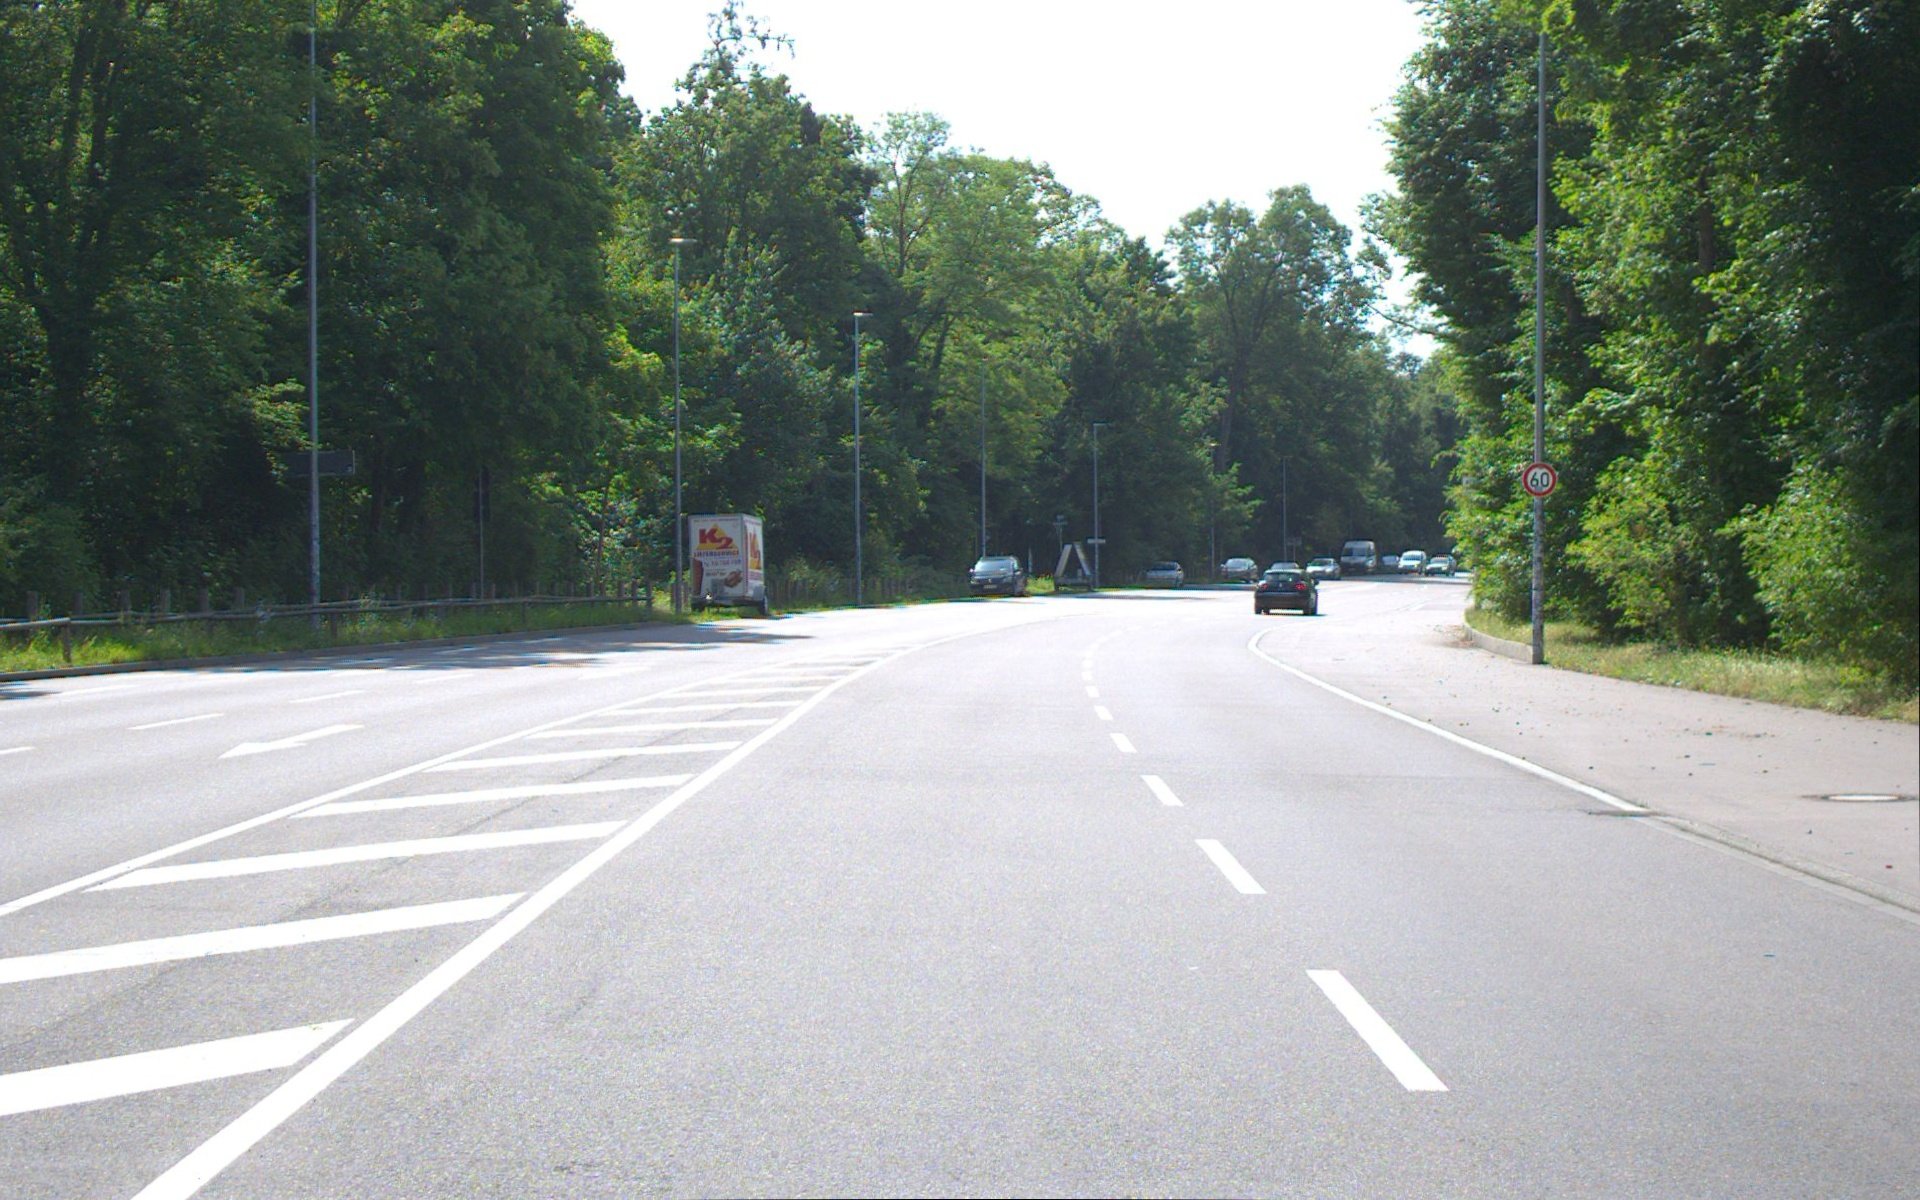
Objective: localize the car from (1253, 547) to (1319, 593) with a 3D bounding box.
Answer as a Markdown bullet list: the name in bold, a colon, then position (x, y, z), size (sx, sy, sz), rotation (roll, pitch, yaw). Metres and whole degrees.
- **car**: position (10.286, -0.946, 108.324), size (1.598, 1.373, 3.974), rotation (1, 1, 12)

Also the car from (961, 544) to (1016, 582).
- **car**: position (1.117, -1.434, 133.905), size (1.504, 1.441, 3.527), rotation (1, 1, 11)

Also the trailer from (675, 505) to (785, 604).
- **trailer**: position (-5.708, -1.119, 85.647), size (1.994, 2.380, 3.999), rotation (1, 1, 7)

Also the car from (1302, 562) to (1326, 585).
- **car**: position (23.104, -1.749, 224.252), size (1.504, 1.441, 3.528), rotation (1, 1, 6)

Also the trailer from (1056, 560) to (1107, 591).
- **trailer**: position (5.537, -1.120, 156.345), size (1.717, 1.350, 3.730), rotation (1, 1, 11)
